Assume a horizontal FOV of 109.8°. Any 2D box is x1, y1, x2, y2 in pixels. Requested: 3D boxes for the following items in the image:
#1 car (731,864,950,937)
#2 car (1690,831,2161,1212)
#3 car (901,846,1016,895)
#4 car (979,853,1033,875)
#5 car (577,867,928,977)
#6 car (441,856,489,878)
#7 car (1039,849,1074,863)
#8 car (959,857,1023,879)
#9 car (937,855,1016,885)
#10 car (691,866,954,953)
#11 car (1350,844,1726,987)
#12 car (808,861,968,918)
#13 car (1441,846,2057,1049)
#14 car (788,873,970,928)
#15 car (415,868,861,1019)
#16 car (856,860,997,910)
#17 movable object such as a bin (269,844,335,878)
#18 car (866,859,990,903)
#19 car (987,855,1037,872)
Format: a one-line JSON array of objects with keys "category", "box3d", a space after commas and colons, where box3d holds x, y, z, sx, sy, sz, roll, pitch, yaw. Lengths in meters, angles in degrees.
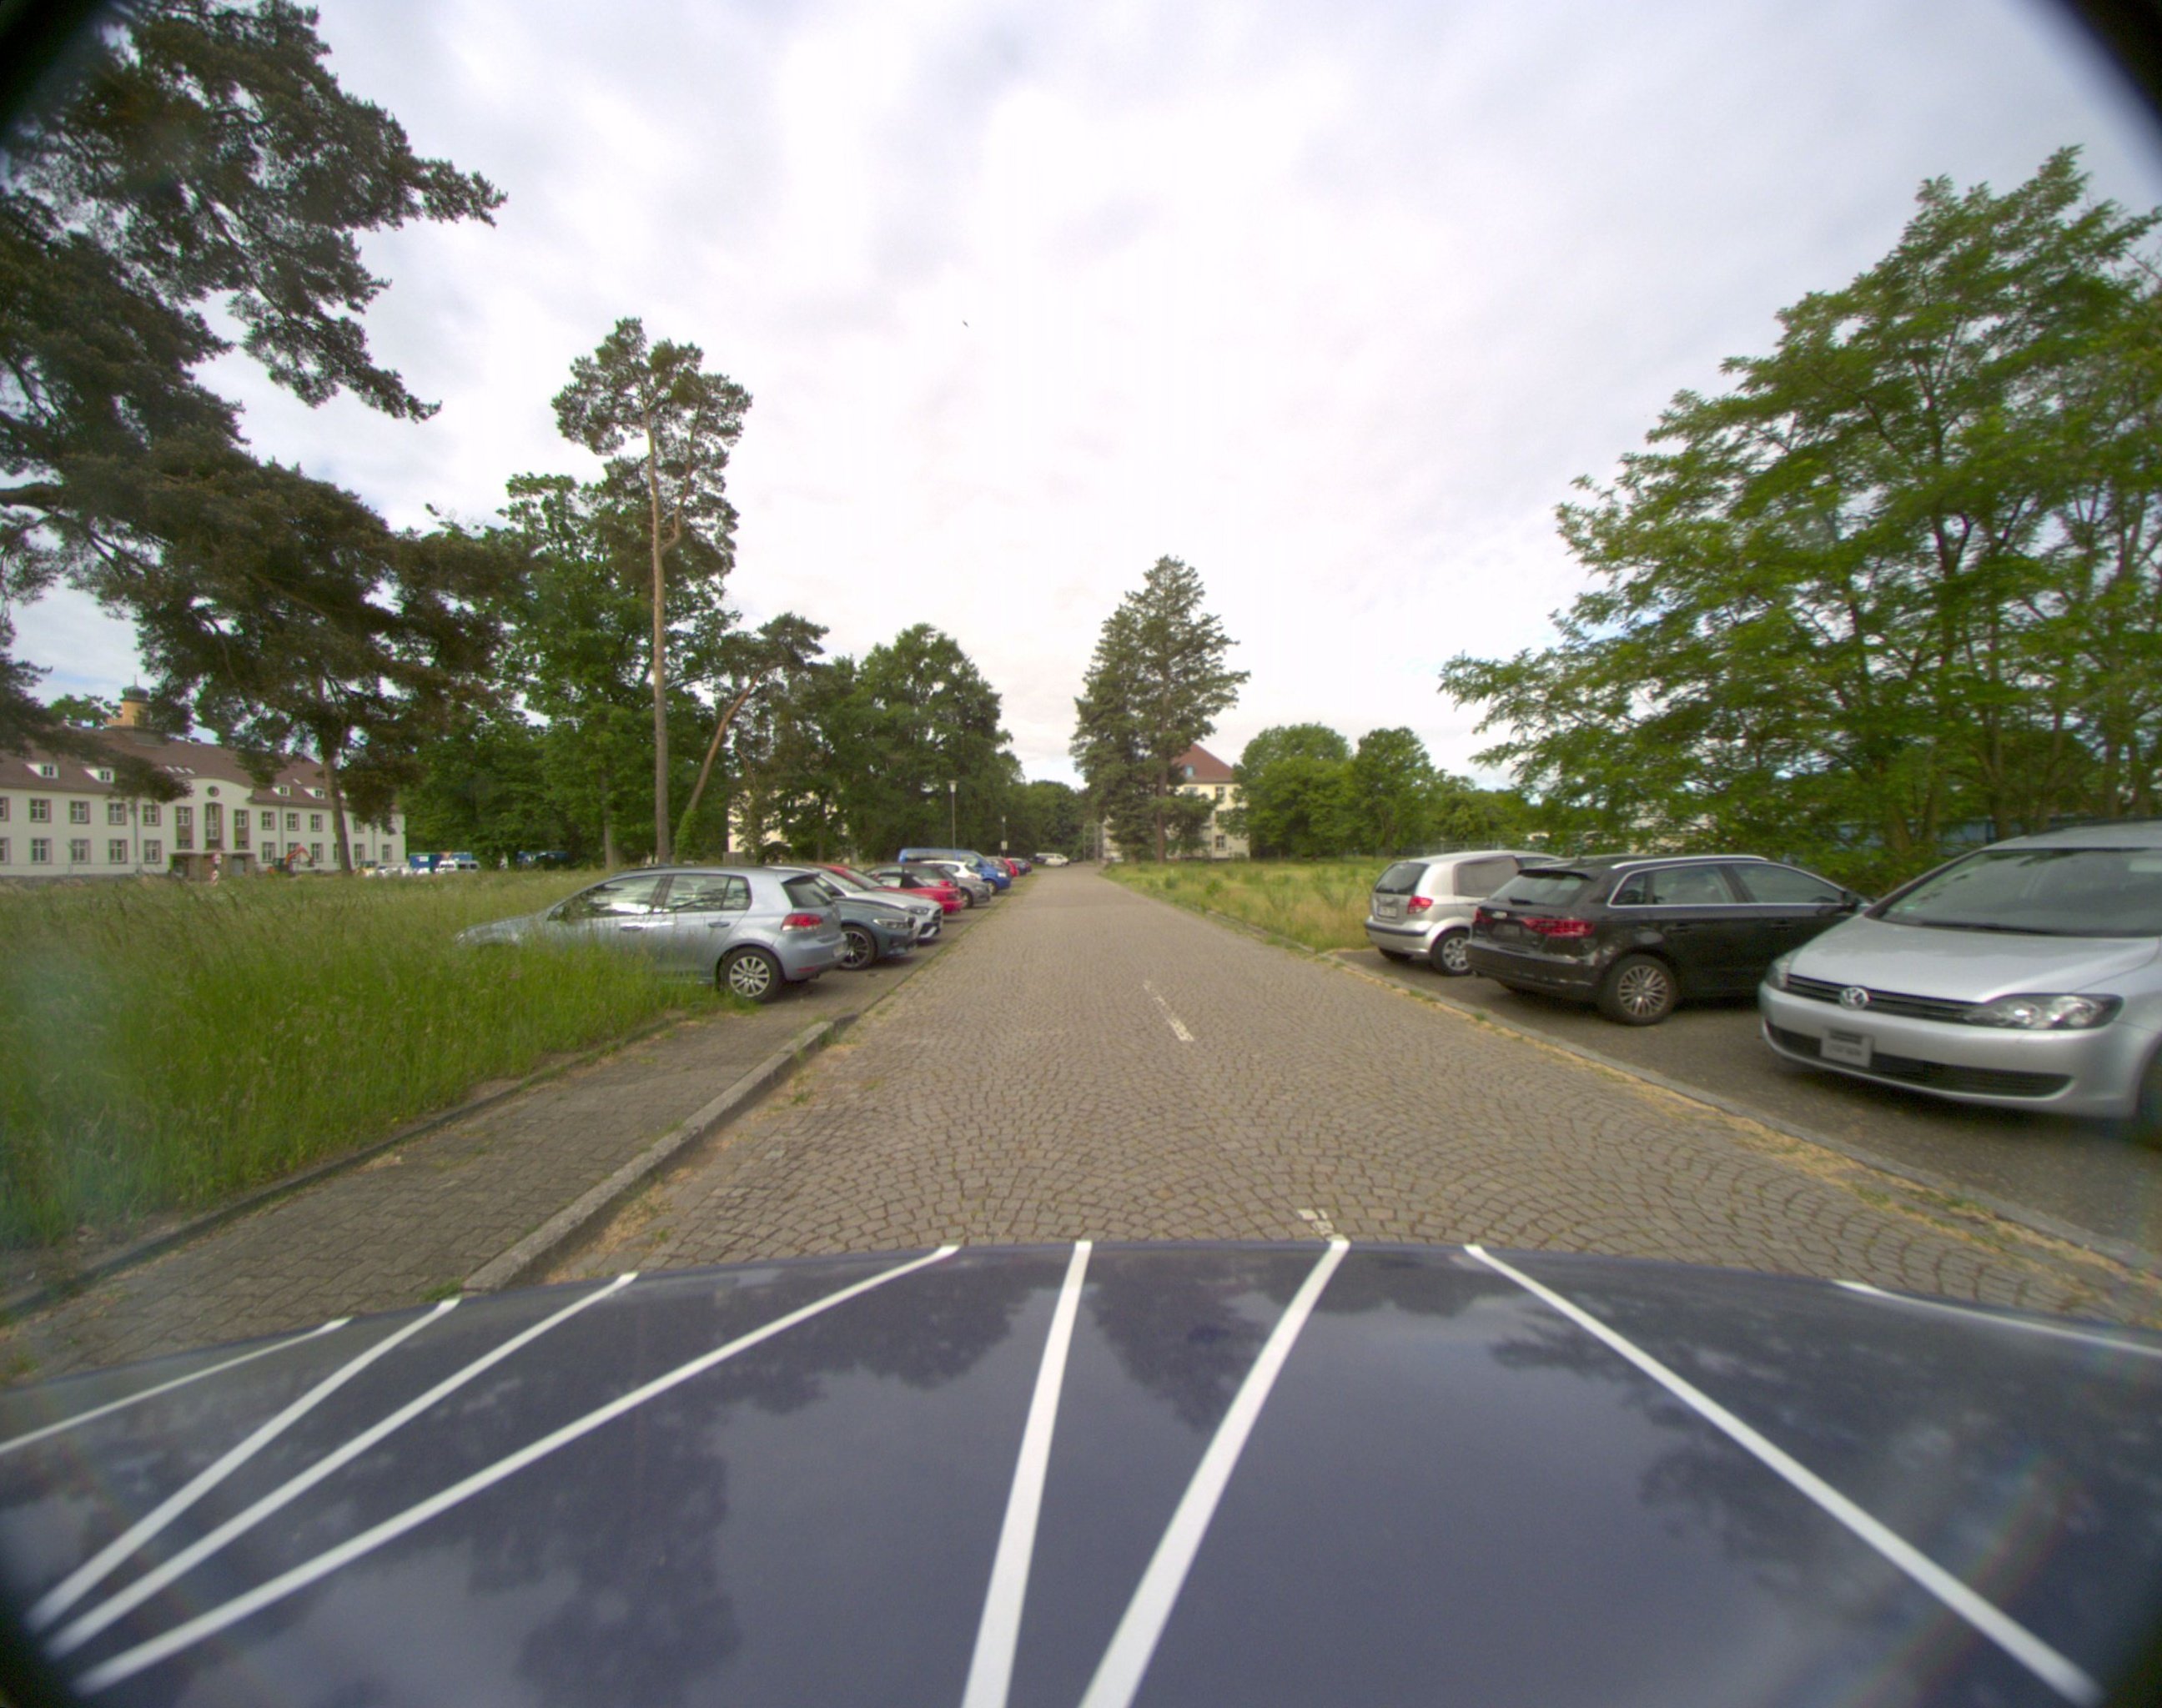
[{"category": "car", "box3d": [-5.082, 0.977, 16.469, 4.184, 1.473, 1.717, 0, 0, -1]}, {"category": "car", "box3d": [6.513, 0.706, 4.592, 4.376, 1.588, 1.871, -3, 1, -7]}, {"category": "car", "box3d": [-5.170, 0.683, 32.485, 4.602, 1.994, 1.912, 0, 1, 0]}, {"category": "car", "box3d": [-6.107, 0.798, 62.033, 4.082, 1.685, 1.727, 0, 0, 6]}, {"category": "car", "box3d": [-4.651, 0.952, 11.257, 4.440, 1.375, 1.663, 2, 0, -3]}, {"category": "car", "box3d": [-70.547, 1.485, 87.068, 1.862, 2.351, 4.446, -2, 1, -1]}, {"category": "car", "box3d": [-3.747, 0.299, 115.464, 5.150, 2.137, 1.774, 0, 0, -5]}, {"category": "car", "box3d": [-6.093, 0.937, 51.684, 4.084, 1.436, 1.726, 0, 0, 0]}, {"category": "car", "box3d": [-5.658, 0.861, 41.376, 4.083, 1.584, 1.654, 0, 0, 1]}, {"category": "car", "box3d": [-4.615, 0.966, 14.004, 4.247, 1.465, 1.717, 0, 0, 1]}, {"category": "car", "box3d": [5.794, 0.718, 9.890, 3.961, 1.462, 1.584, -3, 1, -5]}, {"category": "car", "box3d": [-5.335, 0.954, 21.318, 4.050, 1.507, 1.600, 0, 0, 1]}, {"category": "car", "box3d": [6.060, 0.761, 7.223, 4.447, 1.416, 1.721, -3, 1, -3]}, {"category": "car", "box3d": [-4.873, 1.115, 18.664, 4.051, 1.233, 1.549, 0, 0, -1]}, {"category": "car", "box3d": [-4.754, 0.941, 8.626, 4.012, 1.420, 1.697, 2, 0, -3]}, {"category": "car", "box3d": [-4.833, 0.966, 24.158, 4.097, 1.507, 1.700, 0, 0, 1]}, {"category": "movable object such as a bin", "box3d": [-90.903, 0.801, 88.697, 5.459, 3.748, 2.053, -2, 1, 2]}, {"category": "car", "box3d": [-5.390, 0.930, 27.065, 4.050, 1.507, 1.600, 0, 0, 1]}, {"category": "car", "box3d": [-6.024, 0.831, 66.726, 4.092, 1.524, 1.727, 0, 0, 6]}]
